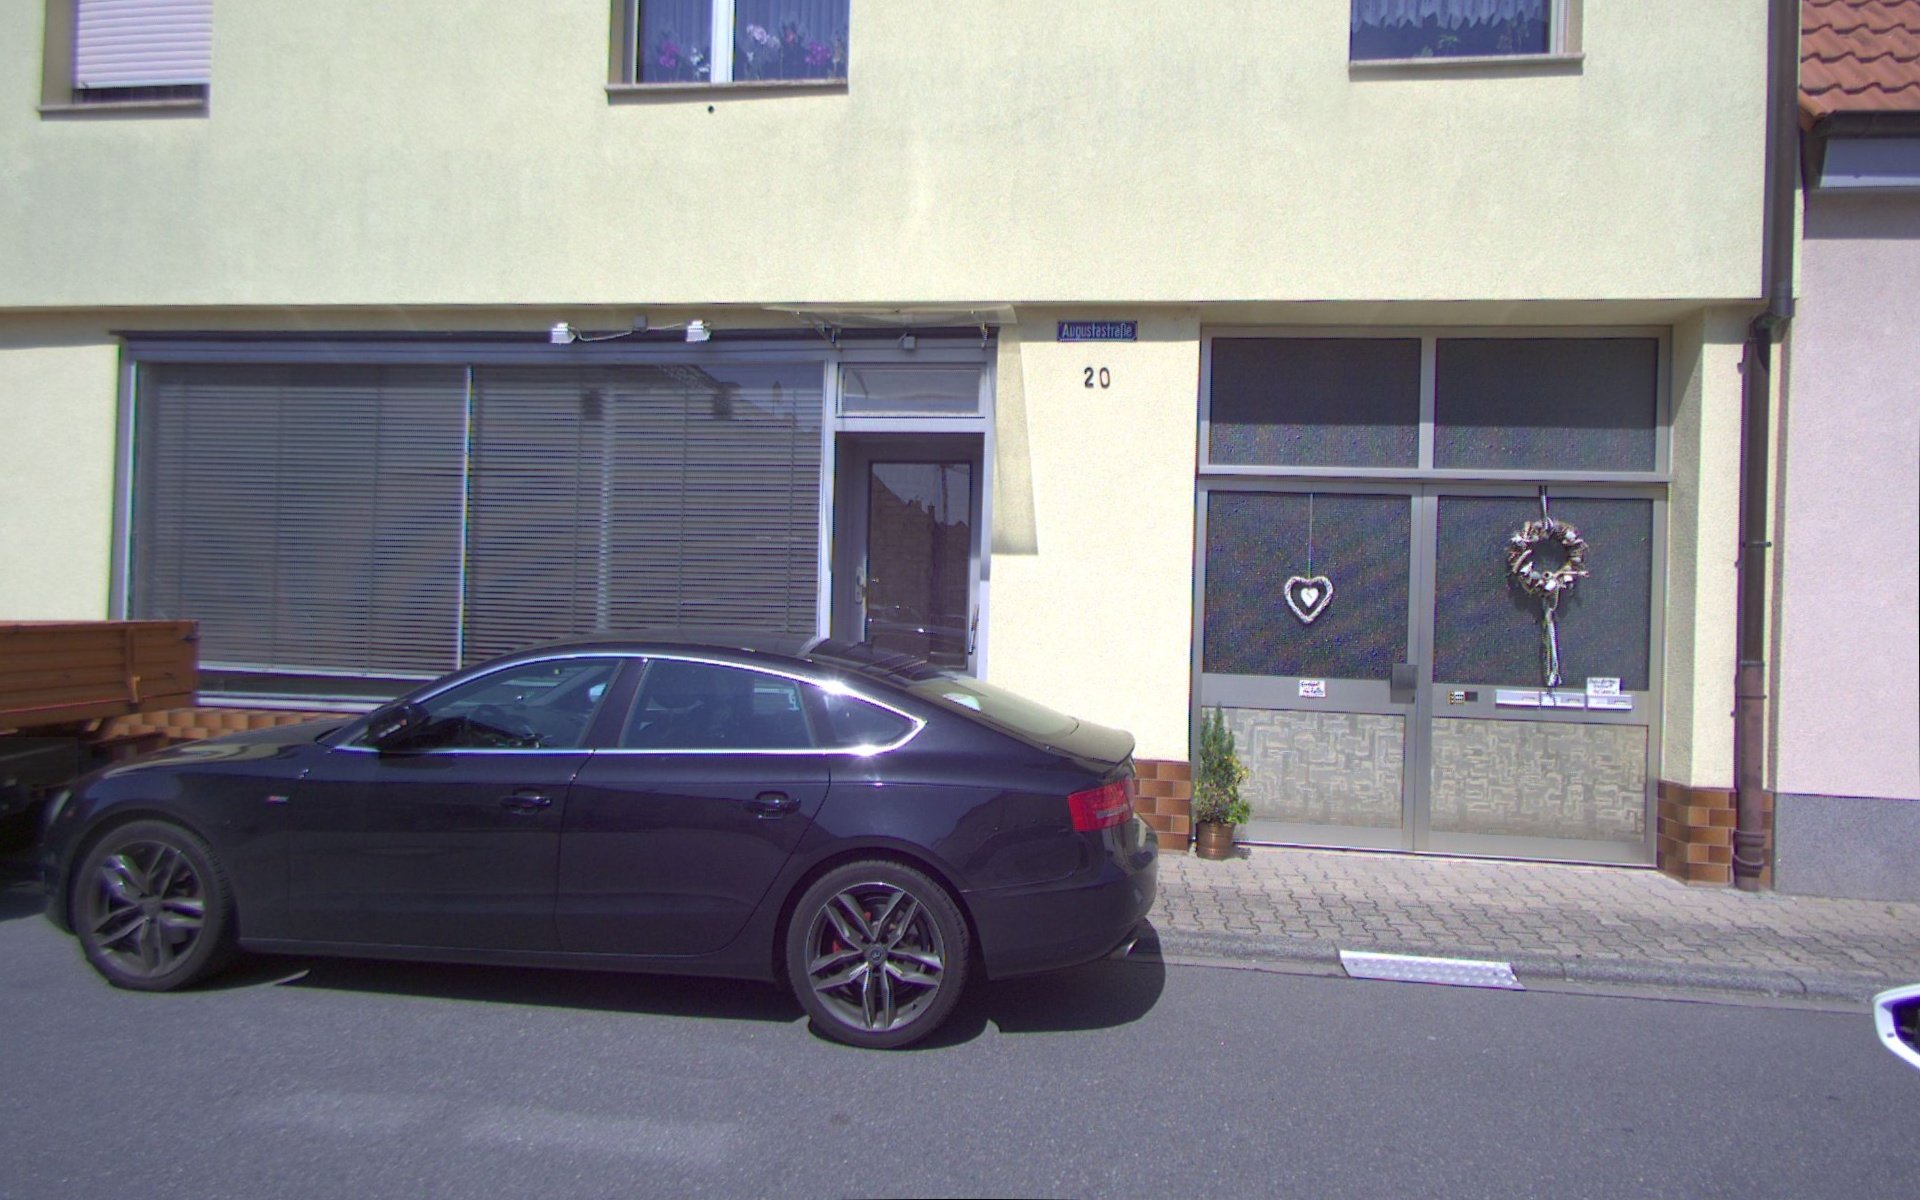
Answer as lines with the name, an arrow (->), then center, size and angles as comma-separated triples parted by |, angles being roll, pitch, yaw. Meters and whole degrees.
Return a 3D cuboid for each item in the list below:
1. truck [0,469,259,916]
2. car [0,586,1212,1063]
truck -> -6.803, 0.352, 5.176 | 4.977, 2.040, 2.191 | 2, -1, 7
car -> -1.340, 0.801, 4.513 | 4.538, 1.412, 1.930 | 2, -4, 6
